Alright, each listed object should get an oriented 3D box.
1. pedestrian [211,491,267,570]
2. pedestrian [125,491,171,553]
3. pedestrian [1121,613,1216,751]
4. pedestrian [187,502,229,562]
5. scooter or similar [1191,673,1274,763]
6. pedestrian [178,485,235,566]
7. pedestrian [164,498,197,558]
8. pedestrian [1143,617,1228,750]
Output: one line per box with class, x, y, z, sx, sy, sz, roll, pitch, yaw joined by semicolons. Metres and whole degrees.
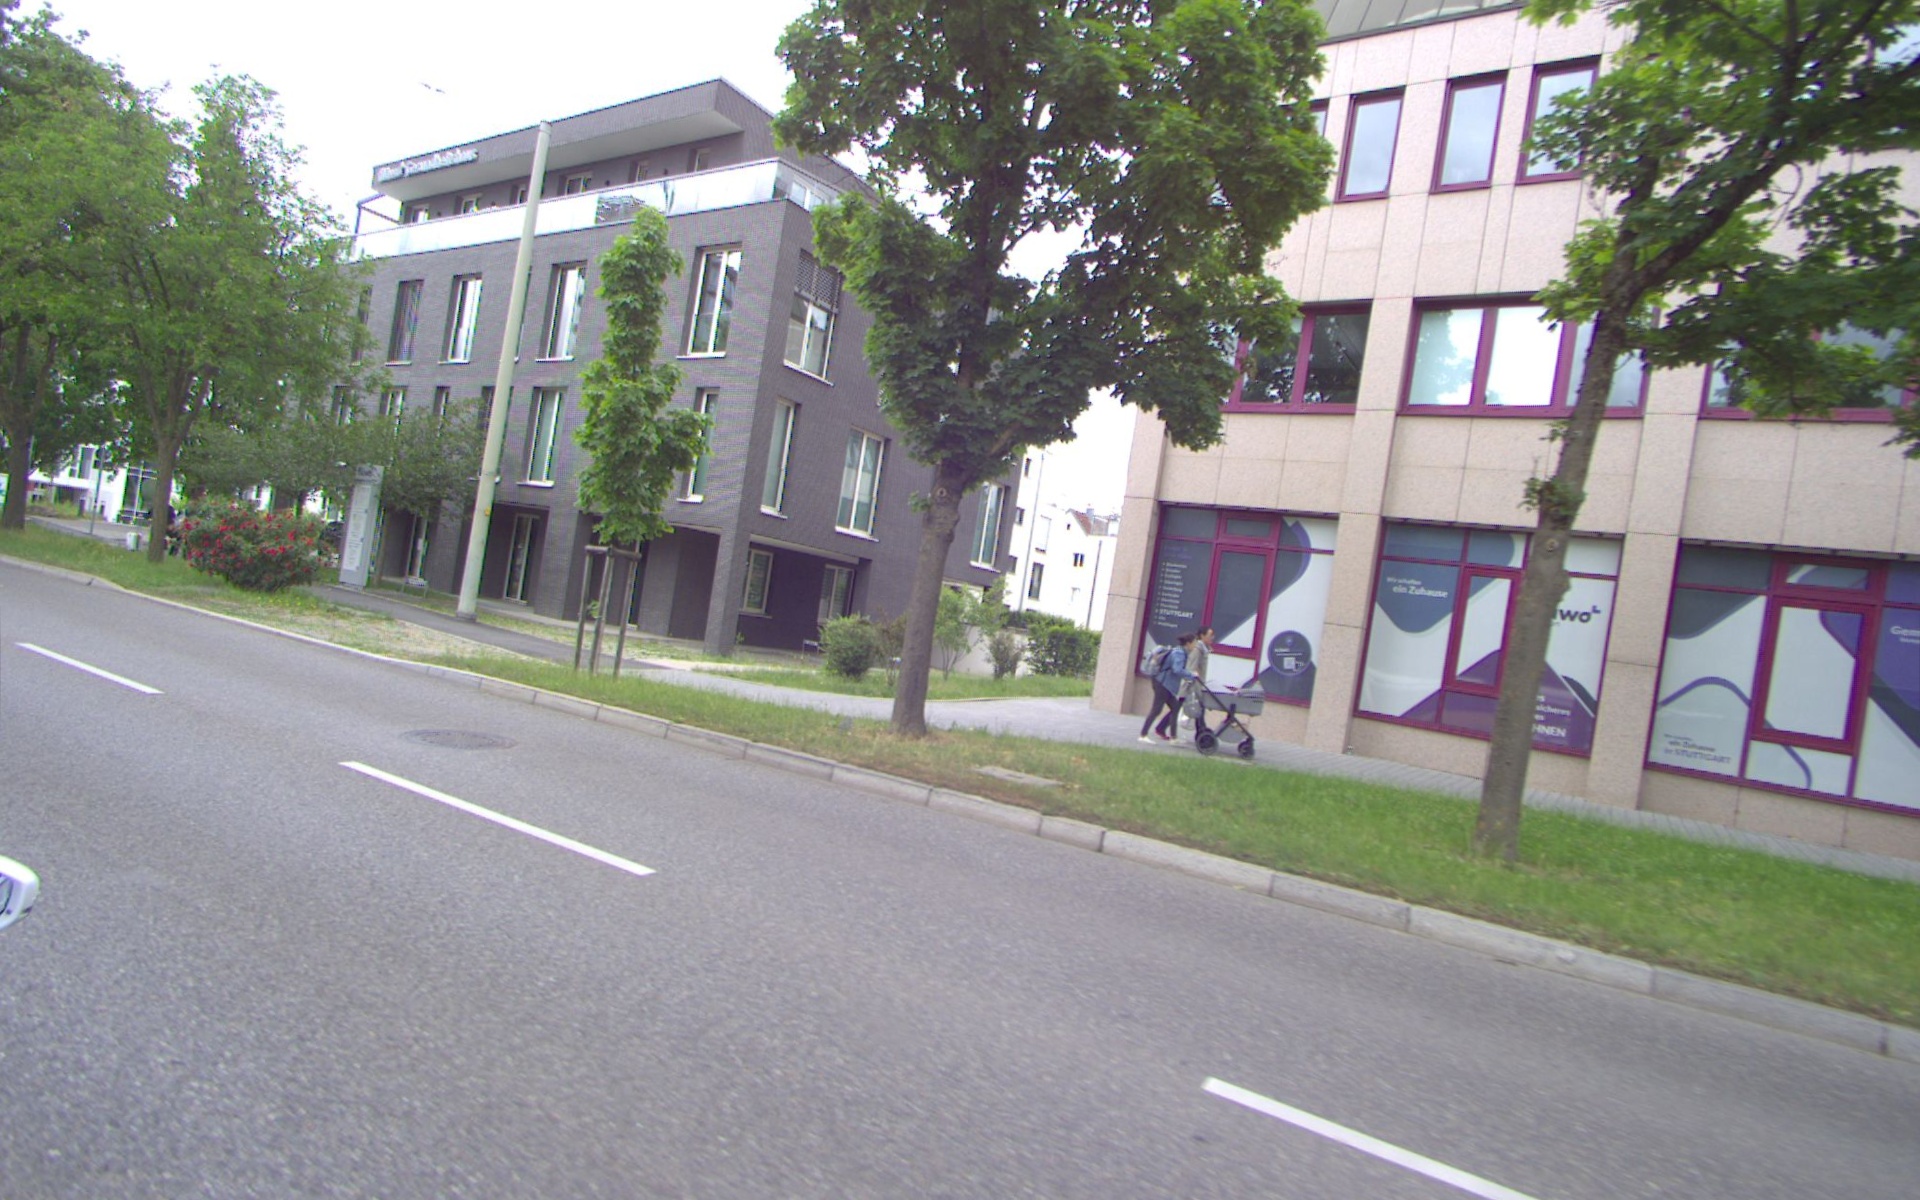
pedestrian;-18.005;-1.739;25.118;0.937;1.797;0.609;10;1;30
pedestrian;-22.398;-2.152;27.753;0.578;1.570;0.726;8;0;35
pedestrian;2.783;1.077;13.411;0.944;1.673;0.556;7;1;27
pedestrian;-21.021;-1.902;28.127;0.732;1.570;0.589;8;0;35
scooter or similar;3.528;1.511;13.016;0.832;1.006;0.585;7;1;27
pedestrian;-18.347;-1.823;24.498;0.937;1.797;0.609;10;1;30
pedestrian;-21.285;-1.962;27.454;0.553;1.570;0.409;7;0;35
pedestrian;3.150;1.163;14.055;0.816;1.720;0.567;7;0;35
